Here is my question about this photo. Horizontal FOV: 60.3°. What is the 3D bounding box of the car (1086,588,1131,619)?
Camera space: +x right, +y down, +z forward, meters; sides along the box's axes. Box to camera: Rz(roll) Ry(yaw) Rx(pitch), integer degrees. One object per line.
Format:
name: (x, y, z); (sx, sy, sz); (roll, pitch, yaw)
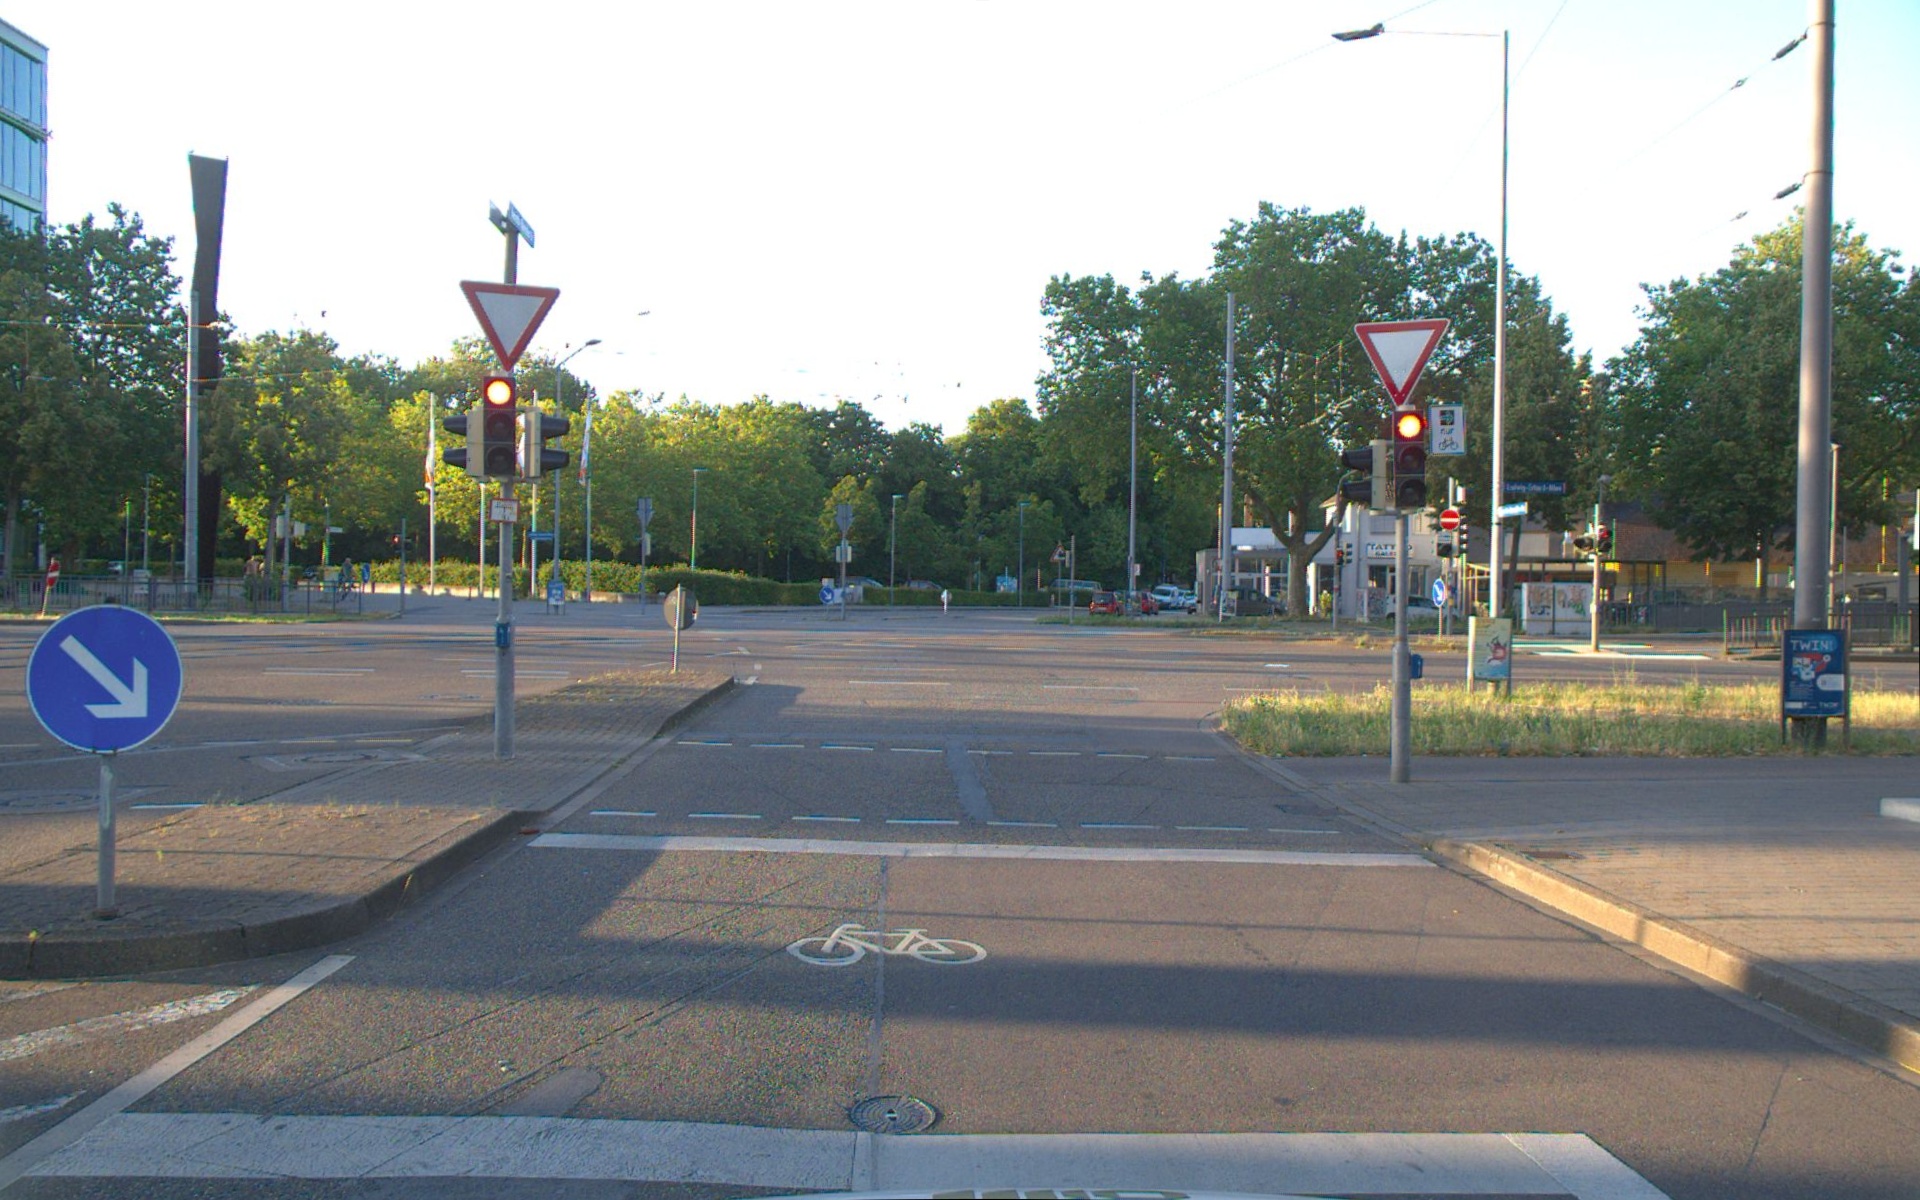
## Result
car: (8.626, 0.219, 95.806); (1.951, 1.691, 4.003); (0, -1, 14)

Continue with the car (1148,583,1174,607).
car: (16.003, -0.365, 131.430); (1.823, 1.825, 4.003); (1, -1, 10)

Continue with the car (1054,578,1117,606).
car: (9.513, -0.591, 126.020); (4.675, 2.041, 2.000); (1, -1, 1)

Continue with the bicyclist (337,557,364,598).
bicyclist: (-26.296, -0.980, 71.396); (0.903, 1.739, 0.749); (1, 0, 42)

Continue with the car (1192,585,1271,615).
car: (14.659, 0.023, 89.382); (4.129, 1.579, 2.001); (1, -1, 7)

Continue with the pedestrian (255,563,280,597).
pedestrian: (-36.382, -1.065, 86.887); (0.843, 1.774, 0.829); (1, 0, 26)

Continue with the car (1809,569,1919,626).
car: (43.694, -0.110, 78.664); (5.476, 2.596, 2.231); (1, 0, 7)

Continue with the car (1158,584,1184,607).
car: (17.412, -0.355, 136.346); (1.823, 1.825, 4.003); (0, -1, 12)

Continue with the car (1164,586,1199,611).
car: (15.560, -0.066, 115.828); (1.951, 1.691, 4.003); (0, -1, 14)

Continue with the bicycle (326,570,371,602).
bicycle: (-26.488, -0.623, 71.613); (2.643, 1.364, 0.728); (1, 1, 43)

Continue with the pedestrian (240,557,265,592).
pedestrian: (-36.859, -1.335, 86.162); (0.844, 1.774, 0.829); (1, 0, 29)

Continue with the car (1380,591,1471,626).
car: (20.370, 0.382, 72.463); (3.659, 1.465, 1.665); (1, -1, 9)

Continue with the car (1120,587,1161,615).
car: (11.324, 0.093, 103.536); (1.951, 1.691, 4.003); (0, -1, 14)
